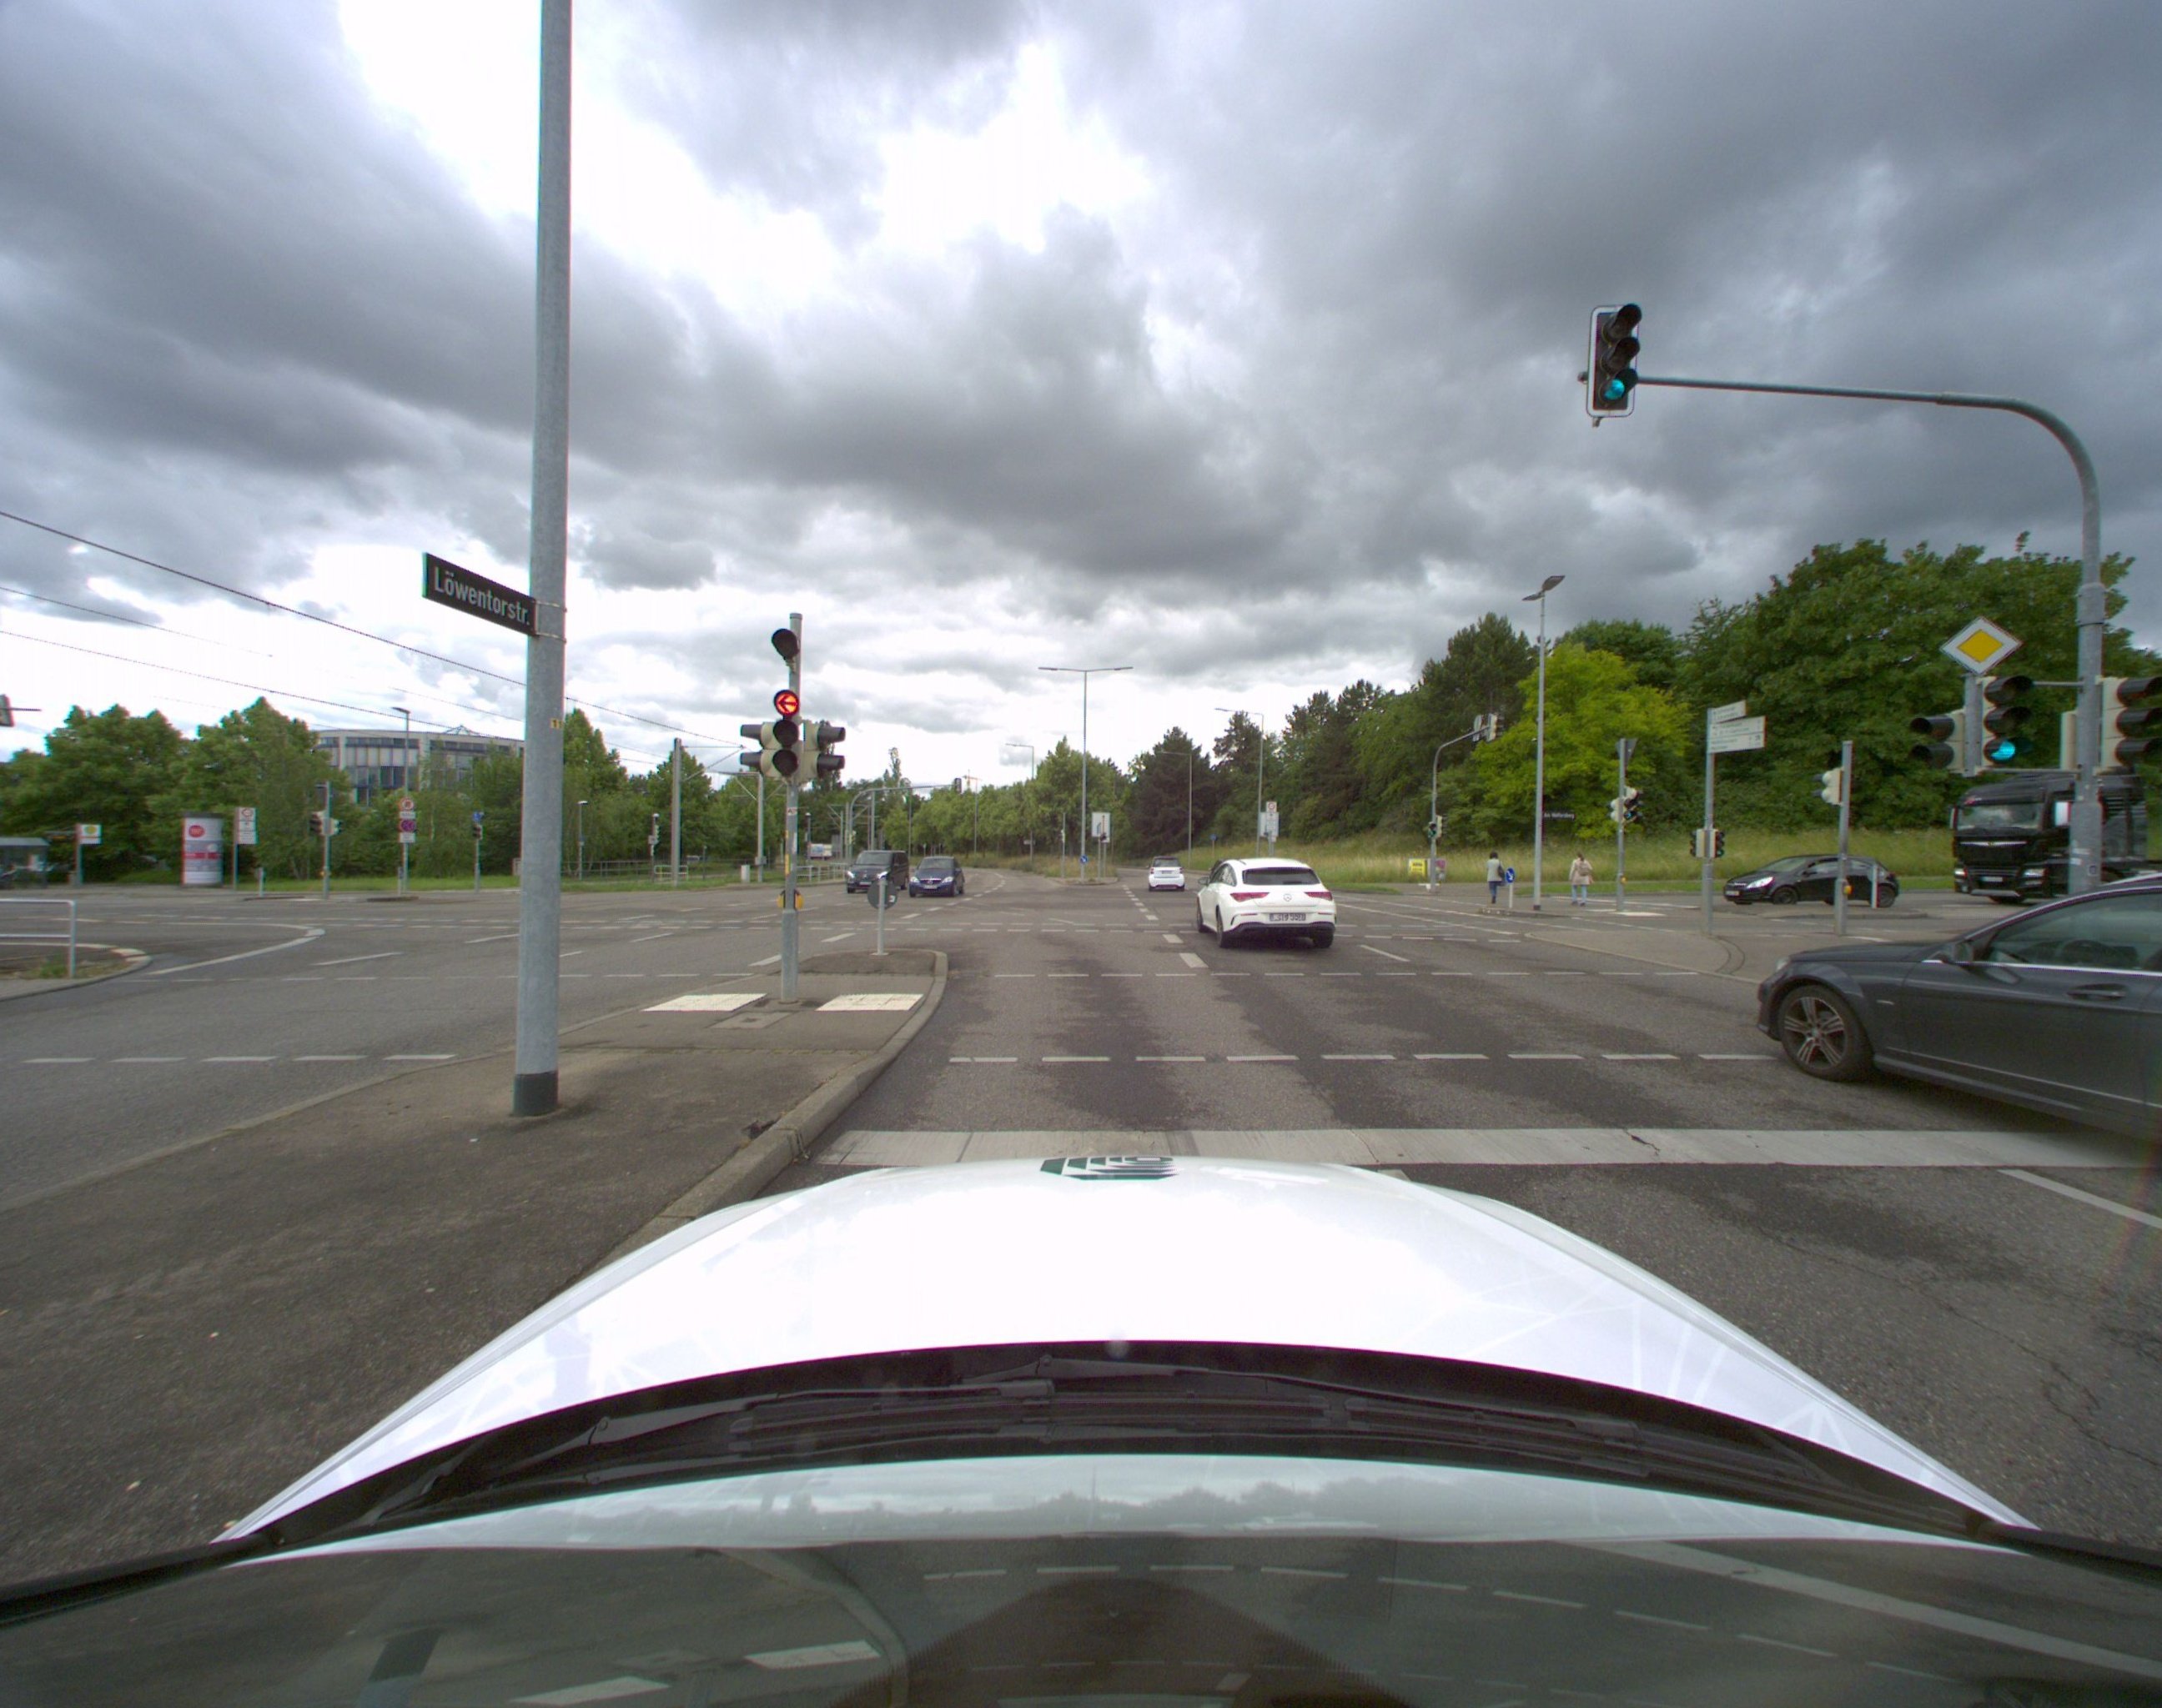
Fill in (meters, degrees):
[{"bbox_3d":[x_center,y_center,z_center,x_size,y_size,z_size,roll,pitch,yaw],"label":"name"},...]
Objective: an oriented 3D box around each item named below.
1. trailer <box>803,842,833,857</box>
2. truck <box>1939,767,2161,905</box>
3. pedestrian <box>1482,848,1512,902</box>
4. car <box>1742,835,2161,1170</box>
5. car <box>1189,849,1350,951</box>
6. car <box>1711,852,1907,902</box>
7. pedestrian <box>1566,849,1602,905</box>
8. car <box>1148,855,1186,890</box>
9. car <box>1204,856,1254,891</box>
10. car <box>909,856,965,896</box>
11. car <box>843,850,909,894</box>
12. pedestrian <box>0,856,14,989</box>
[{"bbox_3d":[-54.963,-0.923,170.288,6.008,3.012,2.773,-1,-1,33],"label":"trailer"},{"bbox_3d":[27.961,-0.491,22.229,5.971,3.486,2.694,-1,-1,4],"label":"truck"},{"bbox_3d":[12.990,0.665,25.446,0.640,1.662,0.715,-1,-1,8],"label":"pedestrian"},{"bbox_3d":[5.669,0.650,3.806,1.740,1.485,4.358,0,1,2],"label":"car"},{"bbox_3d":[3.108,0.709,14.379,1.838,1.506,4.531,0,-1,1],"label":"car"},{"bbox_3d":[20.273,0.626,22.803,3.859,1.338,1.698,0,-1,4],"label":"car"},{"bbox_3d":[14.705,0.654,23.803,0.640,1.612,0.715,0,-1,7],"label":"pedestrian"},{"bbox_3d":[3.856,0.823,36.820,1.585,1.516,2.768,0,-1,3],"label":"car"},{"bbox_3d":[6.521,0.842,36.182,1.607,1.453,3.883,0,-1,2],"label":"car"},{"bbox_3d":[-5.728,0.851,32.804,1.732,1.508,3.656,0,-1,-3],"label":"car"},{"bbox_3d":[-9.154,0.763,36.785,1.883,1.812,5.087,-1,0,-3],"label":"car"},{"bbox_3d":[-12.788,0.792,9.148,0.632,1.536,0.719,0,-1,-2],"label":"pedestrian"}]
